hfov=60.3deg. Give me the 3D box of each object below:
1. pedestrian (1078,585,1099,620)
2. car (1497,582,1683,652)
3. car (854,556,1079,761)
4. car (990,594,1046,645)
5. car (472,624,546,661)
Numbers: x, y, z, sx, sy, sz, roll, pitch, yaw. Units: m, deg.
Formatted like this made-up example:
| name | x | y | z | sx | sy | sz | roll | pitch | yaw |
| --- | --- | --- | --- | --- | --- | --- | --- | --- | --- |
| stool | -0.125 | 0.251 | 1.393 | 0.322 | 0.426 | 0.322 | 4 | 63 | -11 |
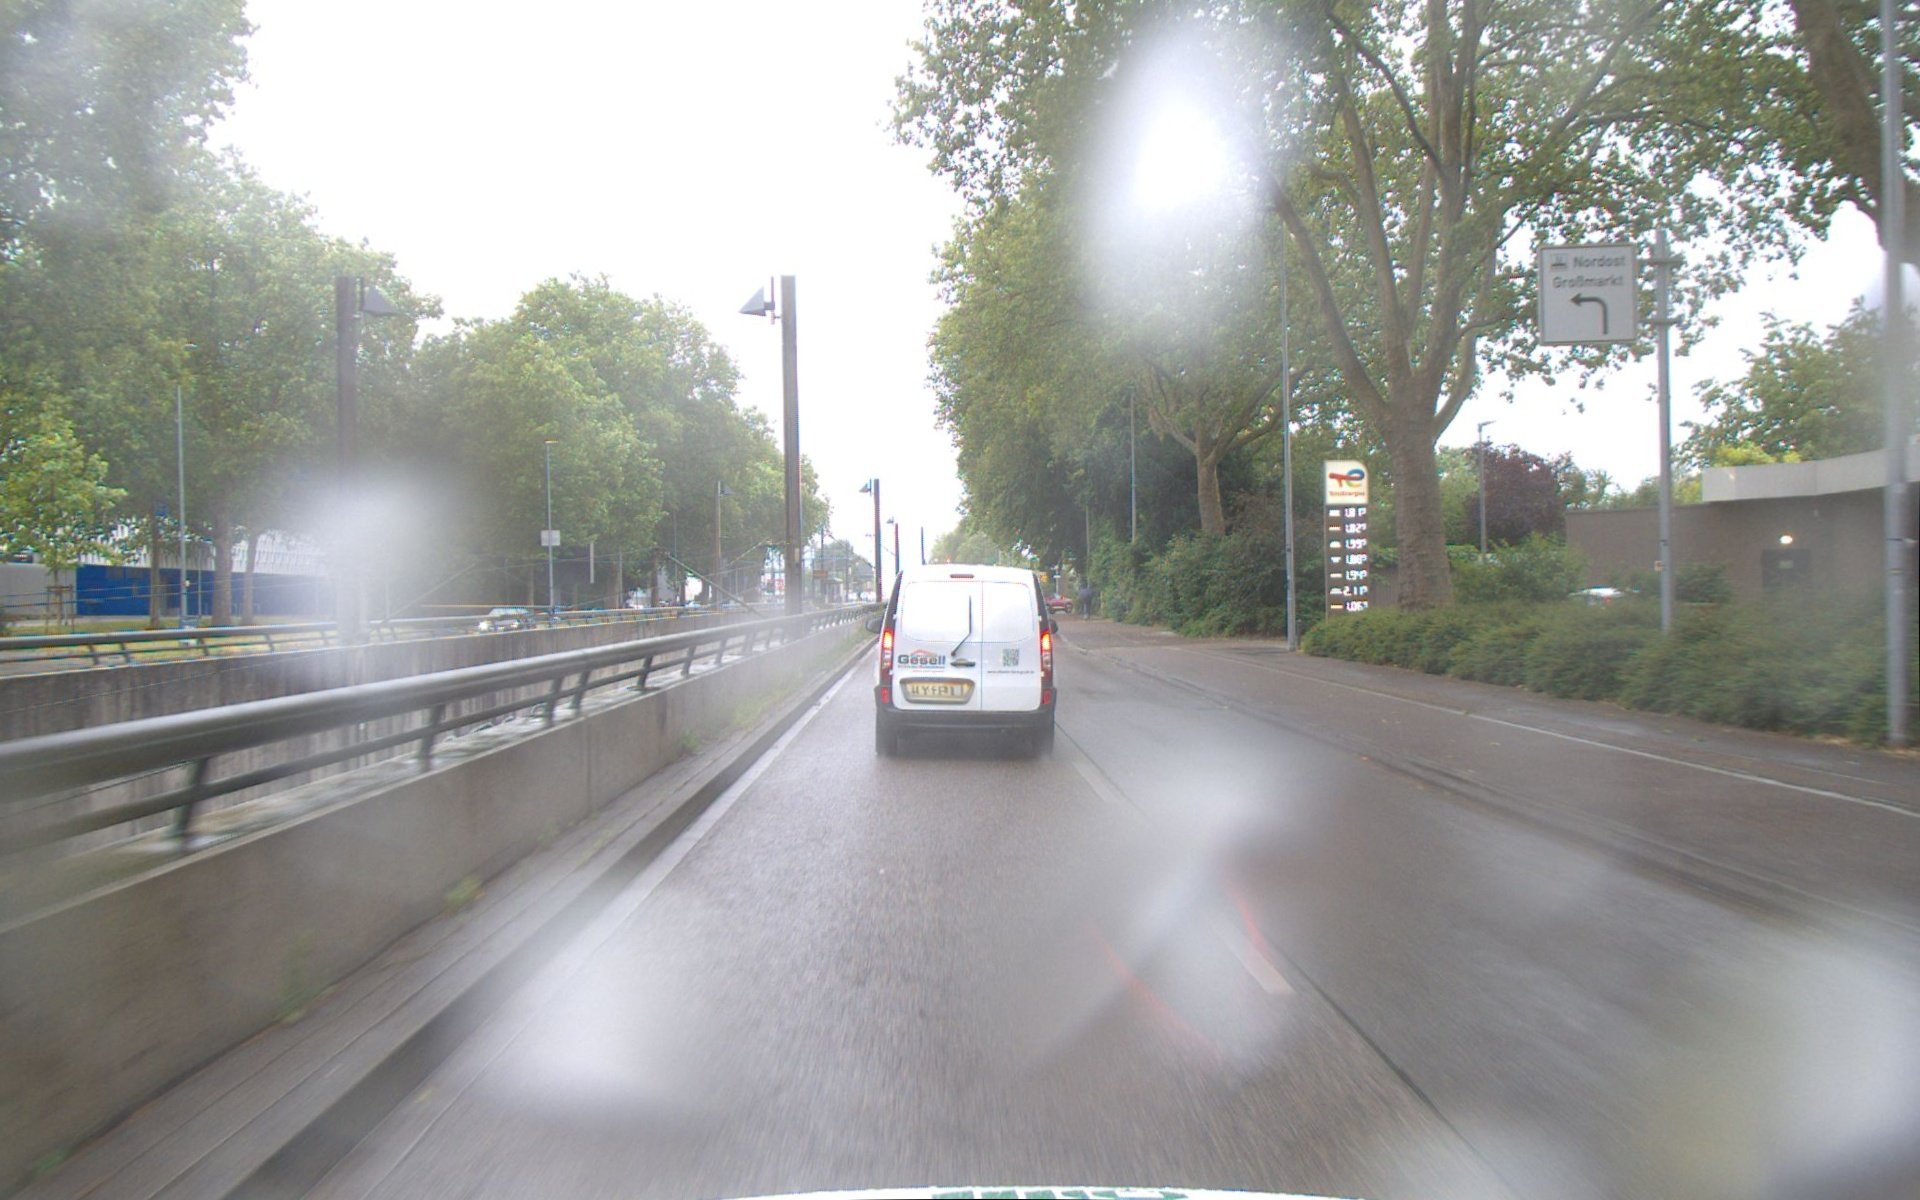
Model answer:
| name | x | y | z | sx | sy | sz | roll | pitch | yaw |
| --- | --- | --- | --- | --- | --- | --- | --- | --- | --- |
| pedestrian | 6.398 | 0.107 | 82.401 | 0.947 | 1.732 | 1.141 | 0 | 0 | 0 |
| car | 13.819 | 0.358 | 36.391 | 1.594 | 1.457 | 3.502 | 1 | -1 | -42 |
| car | 0.013 | 0.517 | 16.931 | 1.984 | 1.806 | 4.273 | 1 | 0 | -1 |
| car | 2.125 | 0.677 | 60.350 | 1.952 | 1.780 | 4.001 | 1 | 0 | 2 |
| car | -19.046 | 1.765 | 70.024 | 1.952 | 1.428 | 3.795 | -1 | 0 | 2 |
